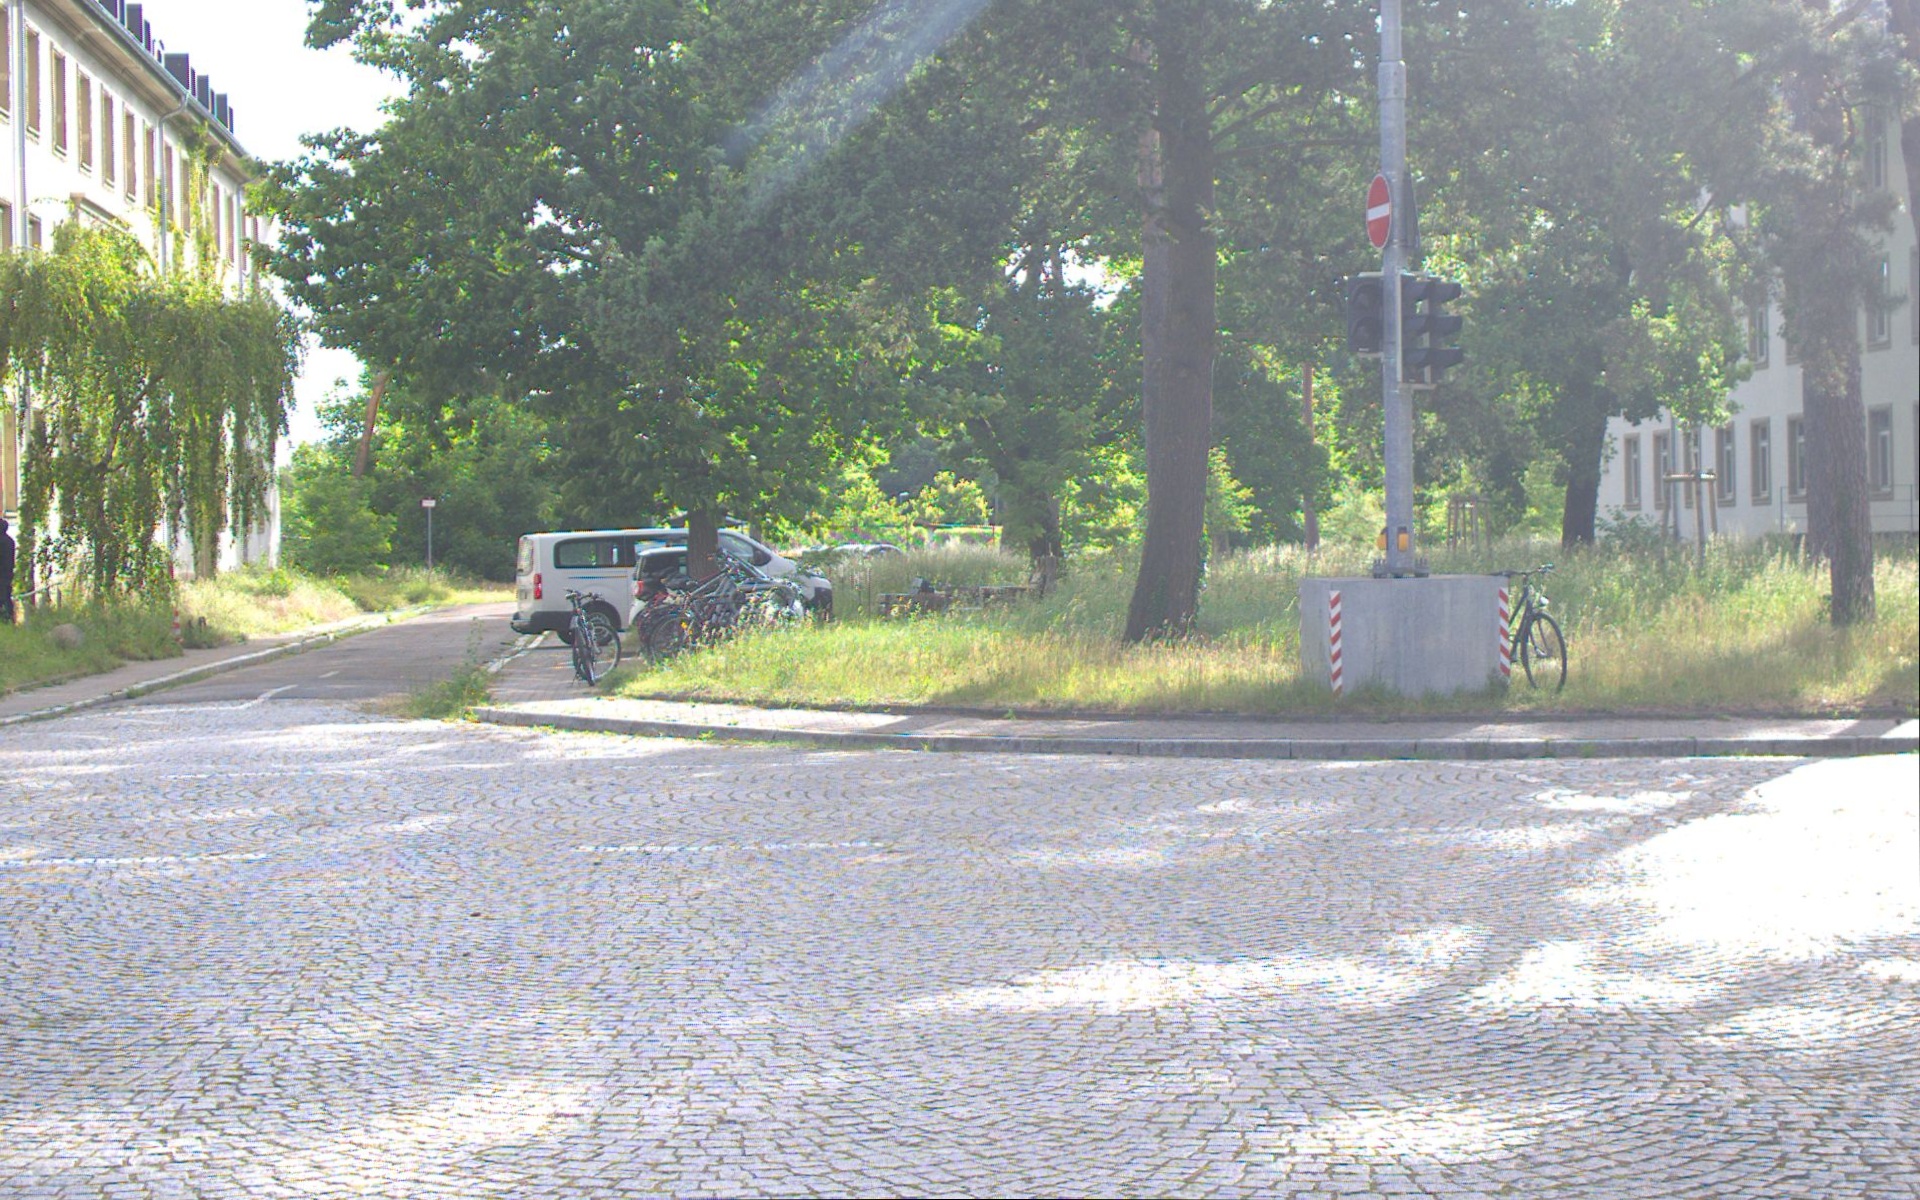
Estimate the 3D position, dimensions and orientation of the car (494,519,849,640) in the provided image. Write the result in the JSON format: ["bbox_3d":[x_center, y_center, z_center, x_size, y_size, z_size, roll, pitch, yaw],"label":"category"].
[{"bbox_3d":[-4.820,-0.348,57.348,5.499,1.909,2.255,-1,0,-19],"label":"car"}]

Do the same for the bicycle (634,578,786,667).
[{"bbox_3d":[-3.024,0.268,41.511,1.792,0.995,0.644,-1,2,-6],"label":"bicycle"}]

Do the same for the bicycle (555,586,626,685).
[{"bbox_3d":[-4.056,0.380,37.820,0.728,0.995,1.799,-1,2,-5],"label":"bicycle"}]

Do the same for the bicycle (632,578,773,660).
[{"bbox_3d":[-3.357,0.244,44.755,1.792,0.995,0.644,-1,2,-6],"label":"bicycle"}]

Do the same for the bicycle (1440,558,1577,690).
[{"bbox_3d":[4.438,0.177,27.921,0.562,0.995,1.752,-2,2,-9],"label":"bicycle"}]

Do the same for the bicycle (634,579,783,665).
[{"bbox_3d":[-3.120,0.262,42.527,1.792,0.995,0.644,-1,2,-6],"label":"bicycle"}]

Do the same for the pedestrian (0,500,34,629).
[{"bbox_3d":[-14.835,-0.542,52.889,0.985,1.956,0.933,-1,0,-6],"label":"pedestrian"}]

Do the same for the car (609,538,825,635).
[{"bbox_3d":[-3.820,-0.206,53.856,3.031,1.460,1.720,-1,0,-18],"label":"car"}]

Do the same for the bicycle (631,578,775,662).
[{"bbox_3d":[-3.295,0.250,44.019,1.792,0.995,0.644,-1,2,-6],"label":"bicycle"}]
